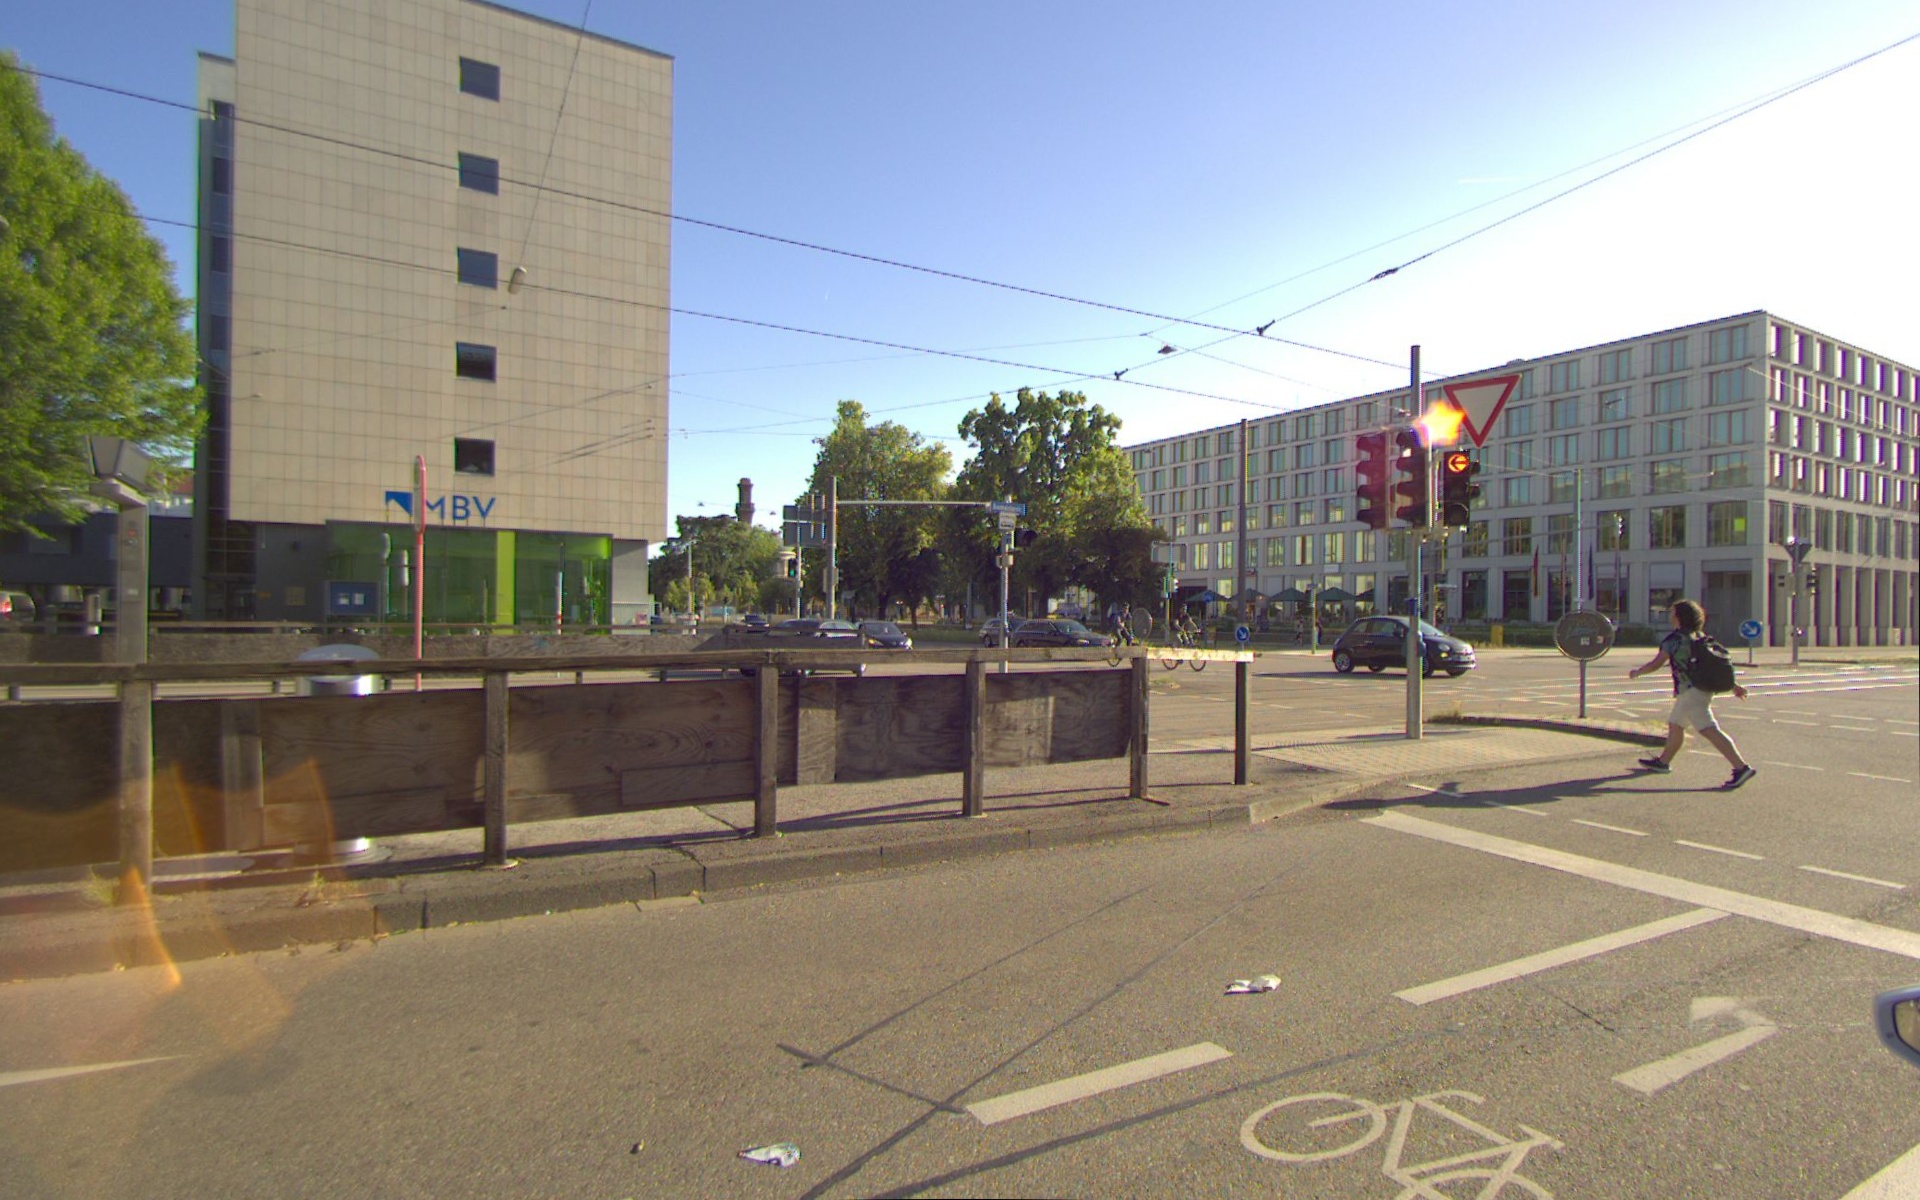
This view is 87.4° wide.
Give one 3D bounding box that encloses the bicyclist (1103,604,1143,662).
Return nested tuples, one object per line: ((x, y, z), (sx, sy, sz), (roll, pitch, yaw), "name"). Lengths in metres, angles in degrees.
((4.908, 0.987, 30.224), (0.833, 1.717, 0.887), (1, -1, -24), "bicyclist")

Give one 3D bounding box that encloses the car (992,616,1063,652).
((3.068, 1.521, 46.192), (1.505, 1.526, 3.511), (1, 0, -32), "car")

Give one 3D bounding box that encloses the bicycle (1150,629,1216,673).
((6.129, 1.389, 27.702), (0.779, 1.137, 1.918), (1, -1, -24), "bicycle")

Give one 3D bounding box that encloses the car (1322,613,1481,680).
((11.272, 1.145, 25.857), (1.505, 1.526, 3.511), (1, 0, -32), "car")

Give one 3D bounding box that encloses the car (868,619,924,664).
((-2.393, 1.530, 38.496), (1.745, 1.615, 4.287), (0, -1, 1), "car")

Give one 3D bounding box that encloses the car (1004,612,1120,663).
((3.701, 1.326, 37.393), (1.910, 1.679, 4.878), (0, 1, -29), "car")

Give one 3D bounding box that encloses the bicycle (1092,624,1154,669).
((4.896, 1.377, 30.250), (0.874, 1.305, 2.042), (1, -1, -24), "bicycle")

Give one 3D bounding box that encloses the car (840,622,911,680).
((-2.091, 1.254, 25.466), (1.441, 1.311, 3.229), (-1, 0, 1), "car")

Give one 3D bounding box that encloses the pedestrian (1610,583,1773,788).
((6.765, 0.743, 9.293), (1.027, 1.743, 1.030), (1, -1, -41), "pedestrian")

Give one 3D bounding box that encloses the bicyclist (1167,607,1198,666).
((6.134, 0.997, 27.717), (0.586, 1.603, 0.617), (1, -1, -24), "bicyclist")
